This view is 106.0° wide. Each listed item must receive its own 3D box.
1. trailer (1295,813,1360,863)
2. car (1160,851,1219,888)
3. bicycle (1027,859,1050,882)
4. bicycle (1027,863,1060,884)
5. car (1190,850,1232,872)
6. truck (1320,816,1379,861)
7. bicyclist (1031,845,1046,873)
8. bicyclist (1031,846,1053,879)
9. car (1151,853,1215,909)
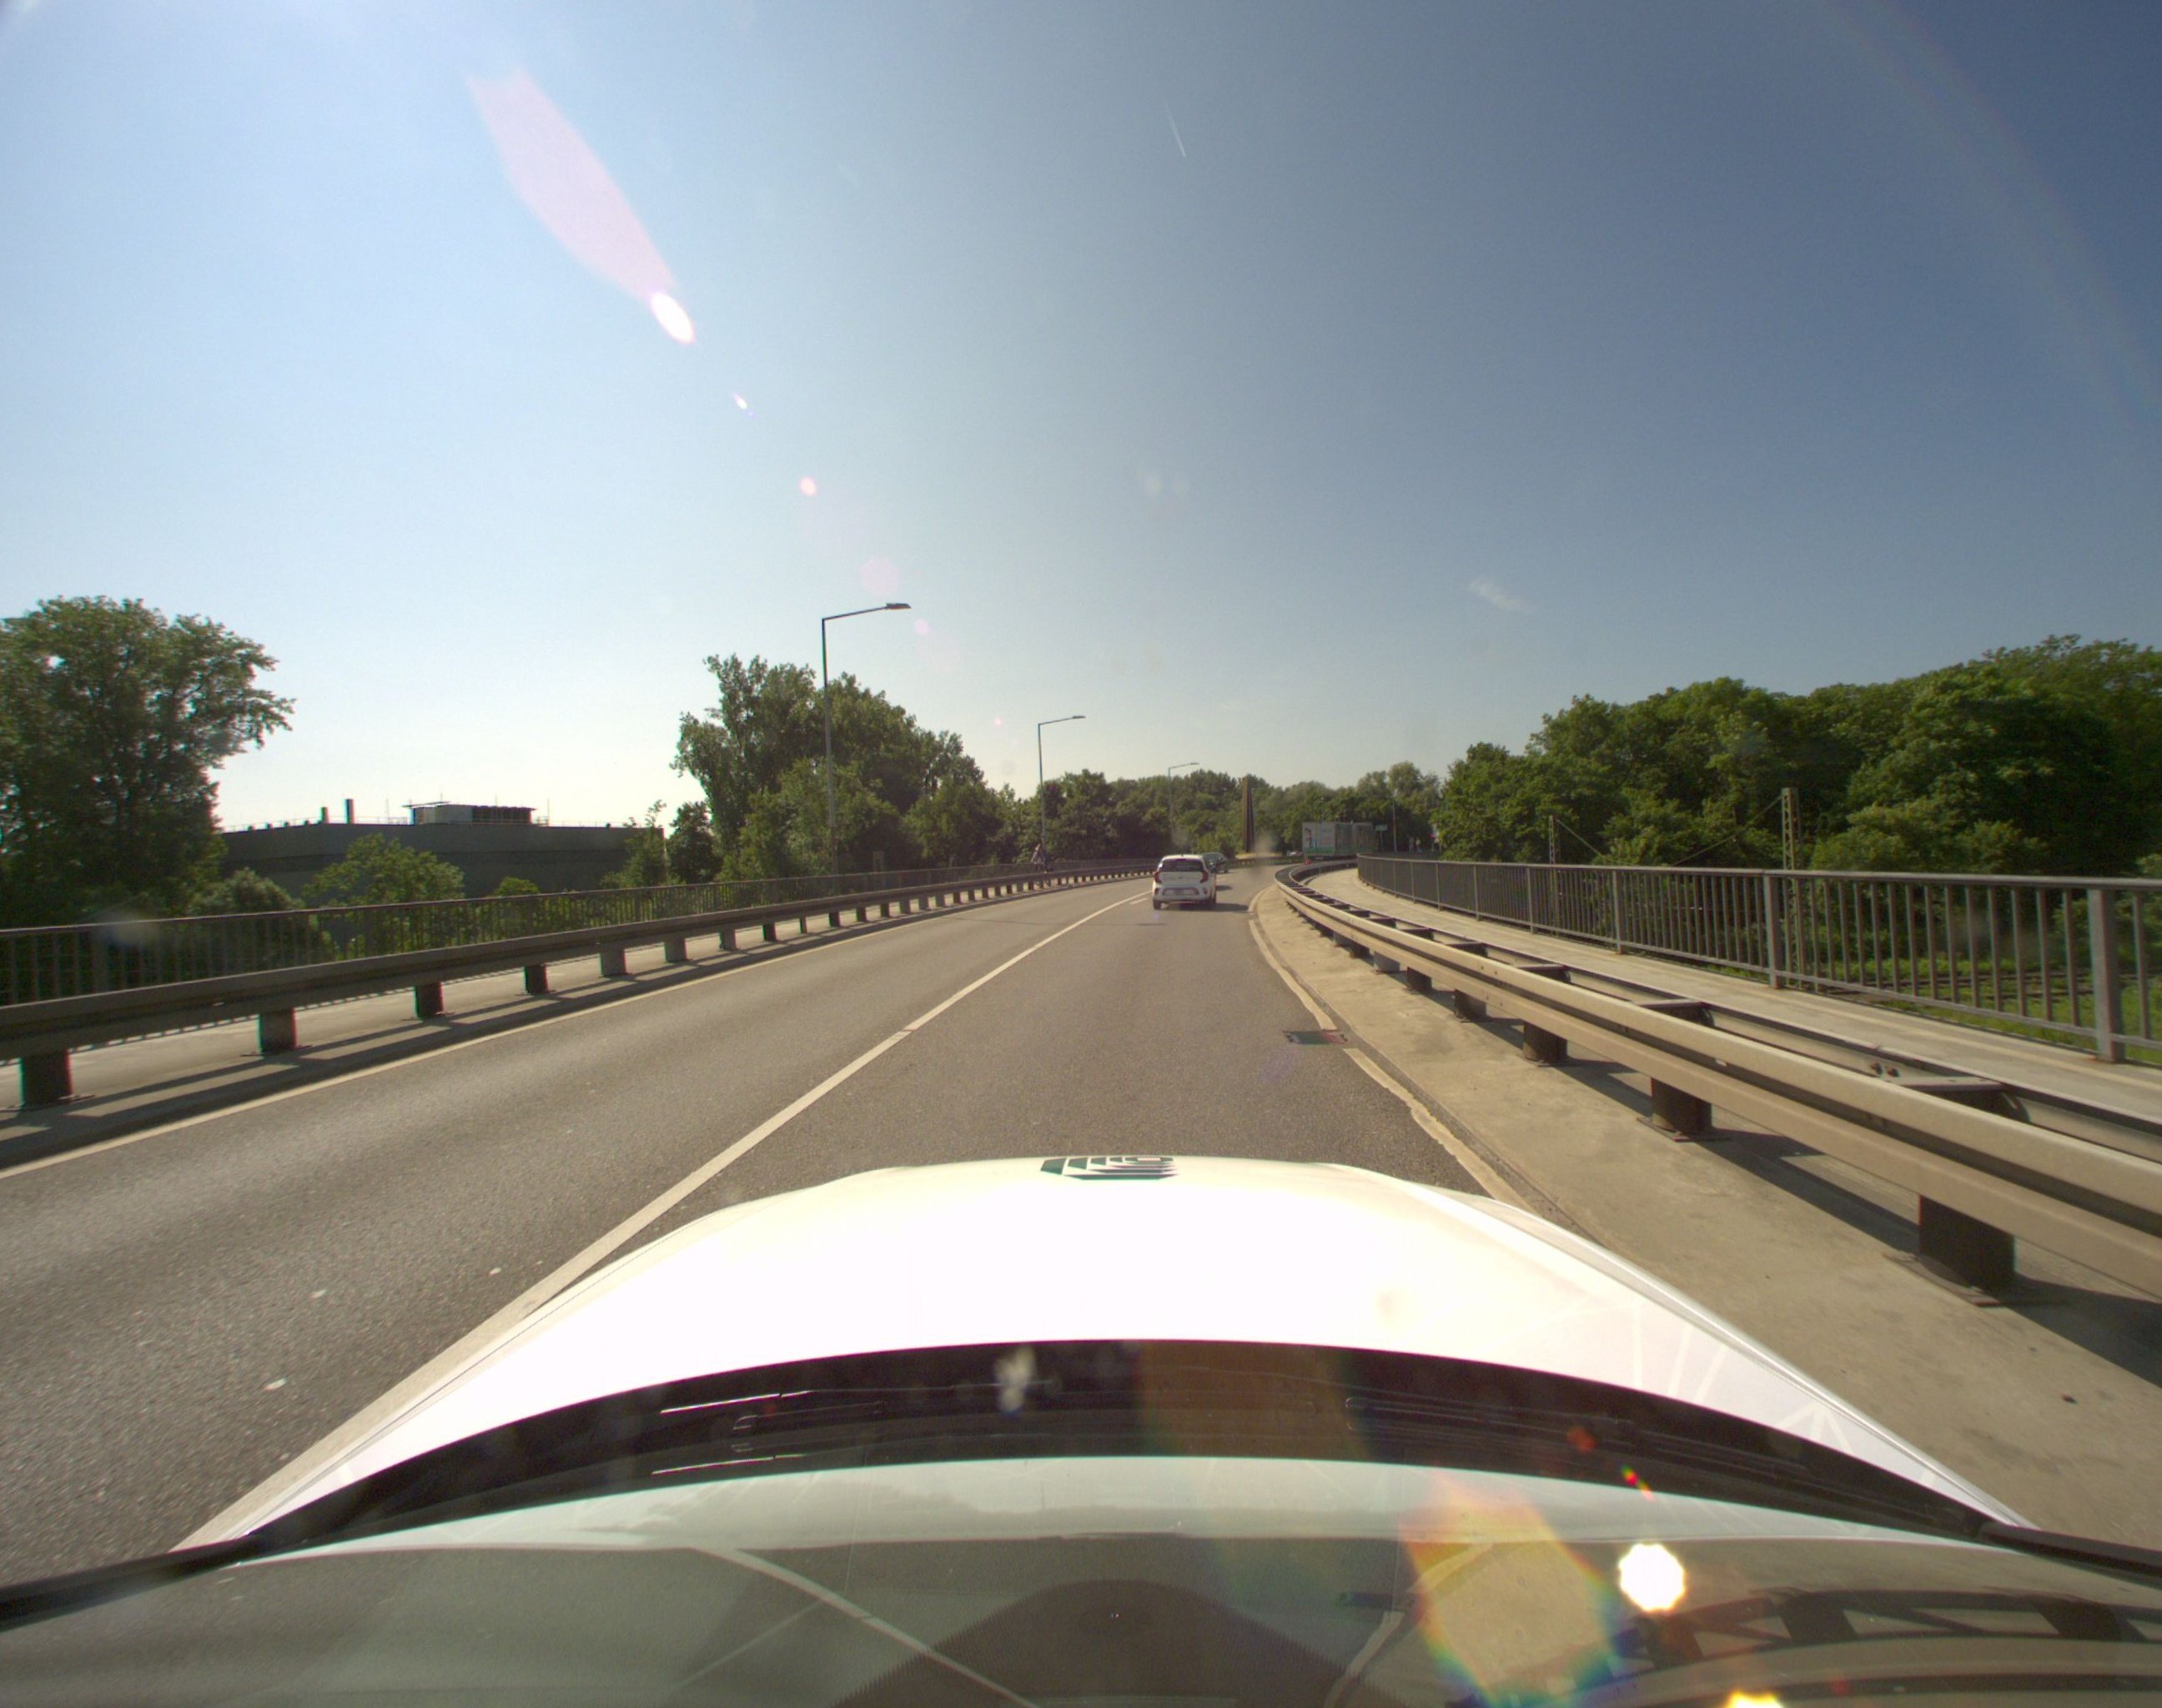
[{"bbox_3d":[20.022,-1.303,65.837,3.194,3.758,7.873,1,1,30],"label":"trailer"},{"bbox_3d":[4.796,0.626,35.395,1.925,1.486,4.919,-1,0,14],"label":"car"},{"bbox_3d":[-2.080,0.790,40.054,0.570,1.046,1.716,-3,0,14],"label":"bicycle"},{"bbox_3d":[-1.731,0.896,37.517,0.921,0.891,1.975,-1,1,15],"label":"bicycle"},{"bbox_3d":[9.190,0.459,57.154,1.802,1.430,4.891,-2,0,22],"label":"car"},{"bbox_3d":[24.146,-1.400,72.924,3.229,3.758,8.423,1,1,30],"label":"truck"},{"bbox_3d":[-2.081,0.247,39.996,0.485,1.329,0.950,-1,-1,14],"label":"bicyclist"},{"bbox_3d":[-1.781,0.382,37.356,0.655,1.496,1.021,-1,2,17],"label":"bicyclist"},{"bbox_3d":[3.009,0.718,23.732,1.692,1.494,4.009,0,0,8],"label":"car"}]
